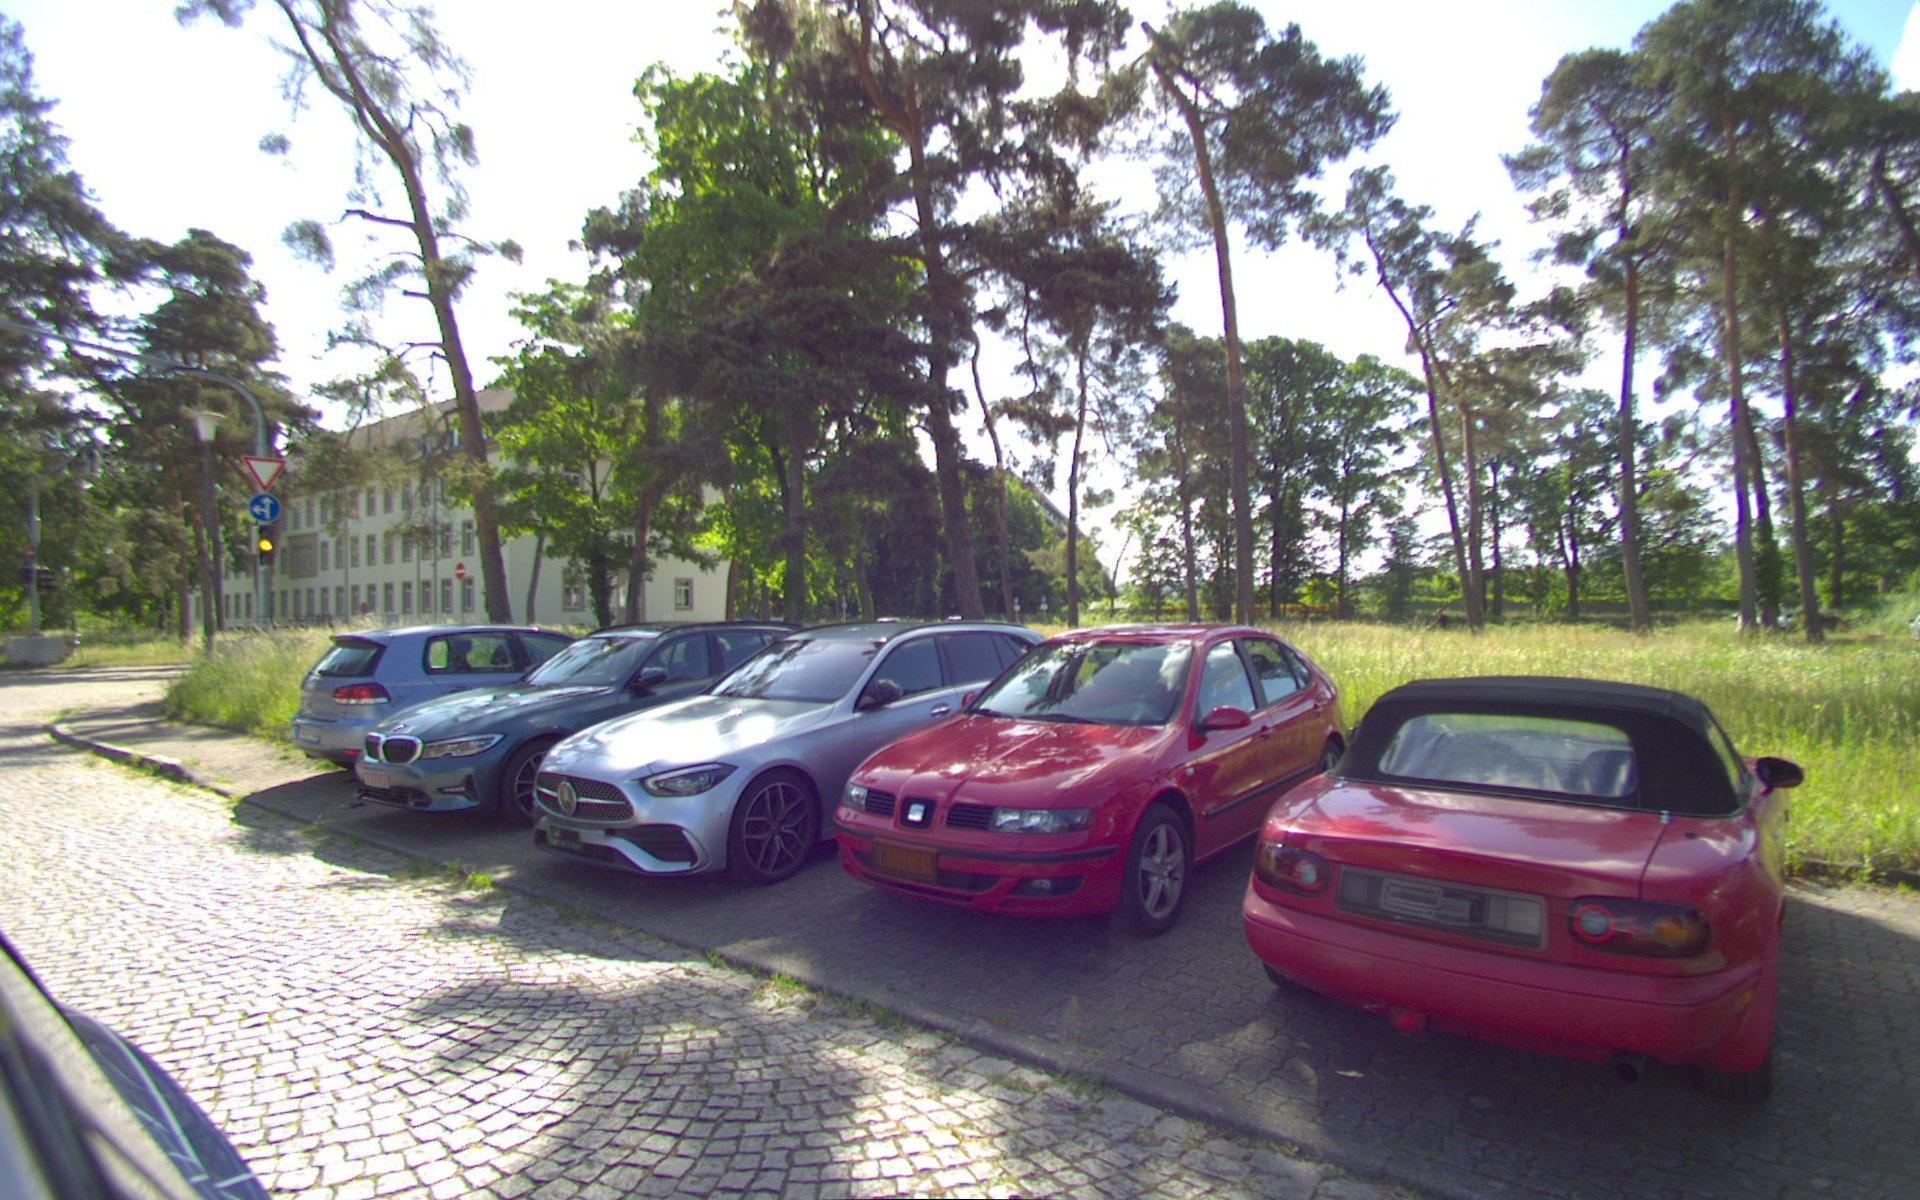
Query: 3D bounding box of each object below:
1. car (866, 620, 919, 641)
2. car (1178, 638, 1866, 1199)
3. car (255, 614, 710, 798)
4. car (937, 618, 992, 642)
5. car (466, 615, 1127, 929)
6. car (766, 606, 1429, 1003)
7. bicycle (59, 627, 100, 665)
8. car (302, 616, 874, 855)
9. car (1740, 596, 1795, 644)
[{"bbox_3d":[-5.211,2.377,78.496,1.719,1.593,4.053,-1,-2,40],"label":"car"},{"bbox_3d":[2.570,0.880,4.306,1.758,1.243,3.594,0,1,40],"label":"car"},{"bbox_3d":[-4.930,0.964,10.917,1.945,1.494,3.990,-2,-1,37],"label":"car"},{"bbox_3d":[0.342,2.167,73.293,1.839,1.642,4.005,-2,-2,40],"label":"car"},{"bbox_3d":[-0.804,0.894,7.537,1.936,1.431,4.817,0,1,39],"label":"car"},{"bbox_3d":[1.279,0.816,6.398,1.936,1.431,4.817,-1,0,39],"label":"car"},{"bbox_3d":[-31.274,1.619,35.938,2.111,1.293,0.614,-2,1,37],"label":"bicycle"},{"bbox_3d":[-2.997,0.938,9.142,1.980,1.463,4.541,-1,0,35],"label":"car"},{"bbox_3d":[39.151,0.980,49.051,1.955,2.180,4.797,-1,-2,40],"label":"car"}]
